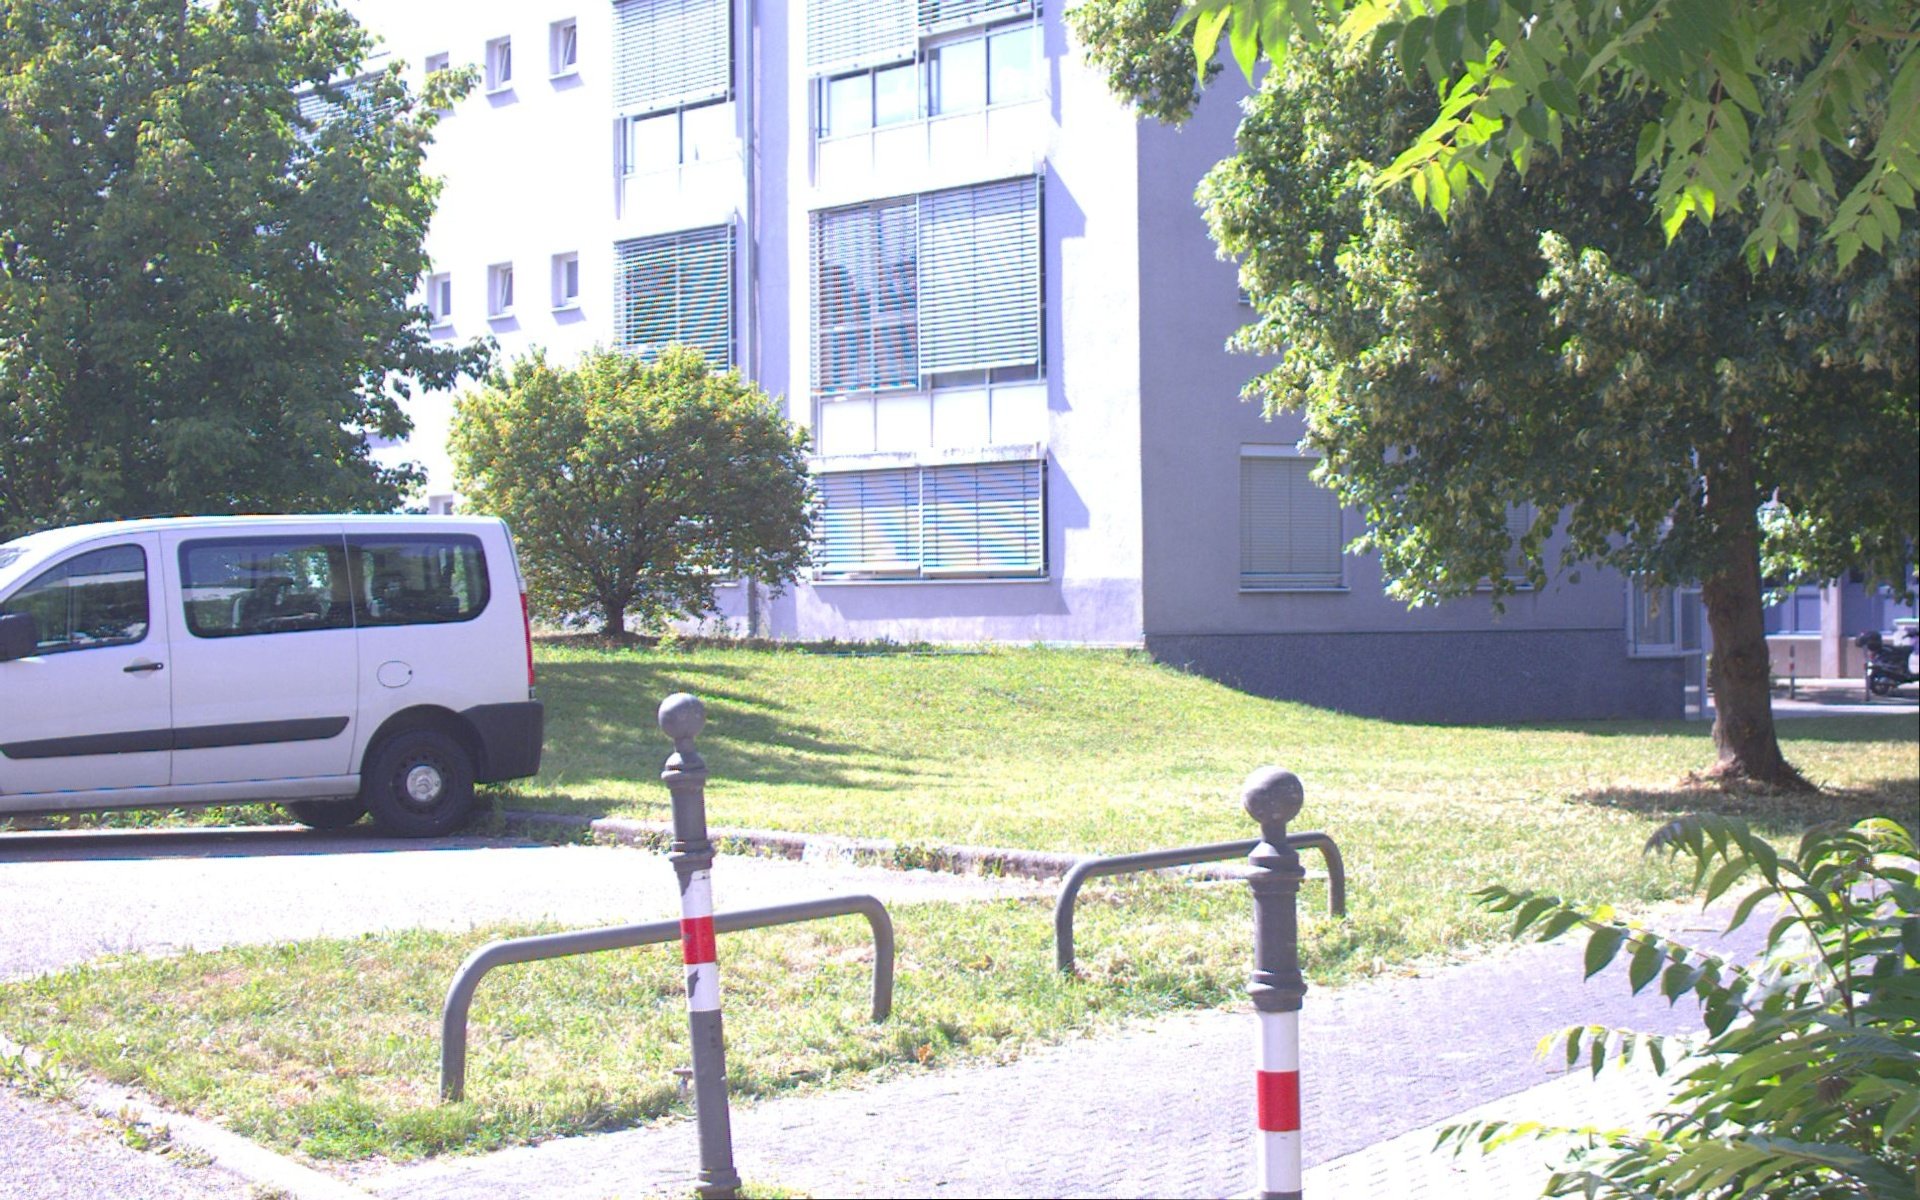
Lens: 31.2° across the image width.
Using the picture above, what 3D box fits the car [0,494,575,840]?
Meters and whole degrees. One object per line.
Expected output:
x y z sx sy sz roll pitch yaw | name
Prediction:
-5.013 0.359 20.454 5.023 1.926 2.000 -1 0 -30 | car

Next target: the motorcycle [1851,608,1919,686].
15.516 0.752 56.051 2.056 1.242 0.630 -1 1 -30 | motorcycle
